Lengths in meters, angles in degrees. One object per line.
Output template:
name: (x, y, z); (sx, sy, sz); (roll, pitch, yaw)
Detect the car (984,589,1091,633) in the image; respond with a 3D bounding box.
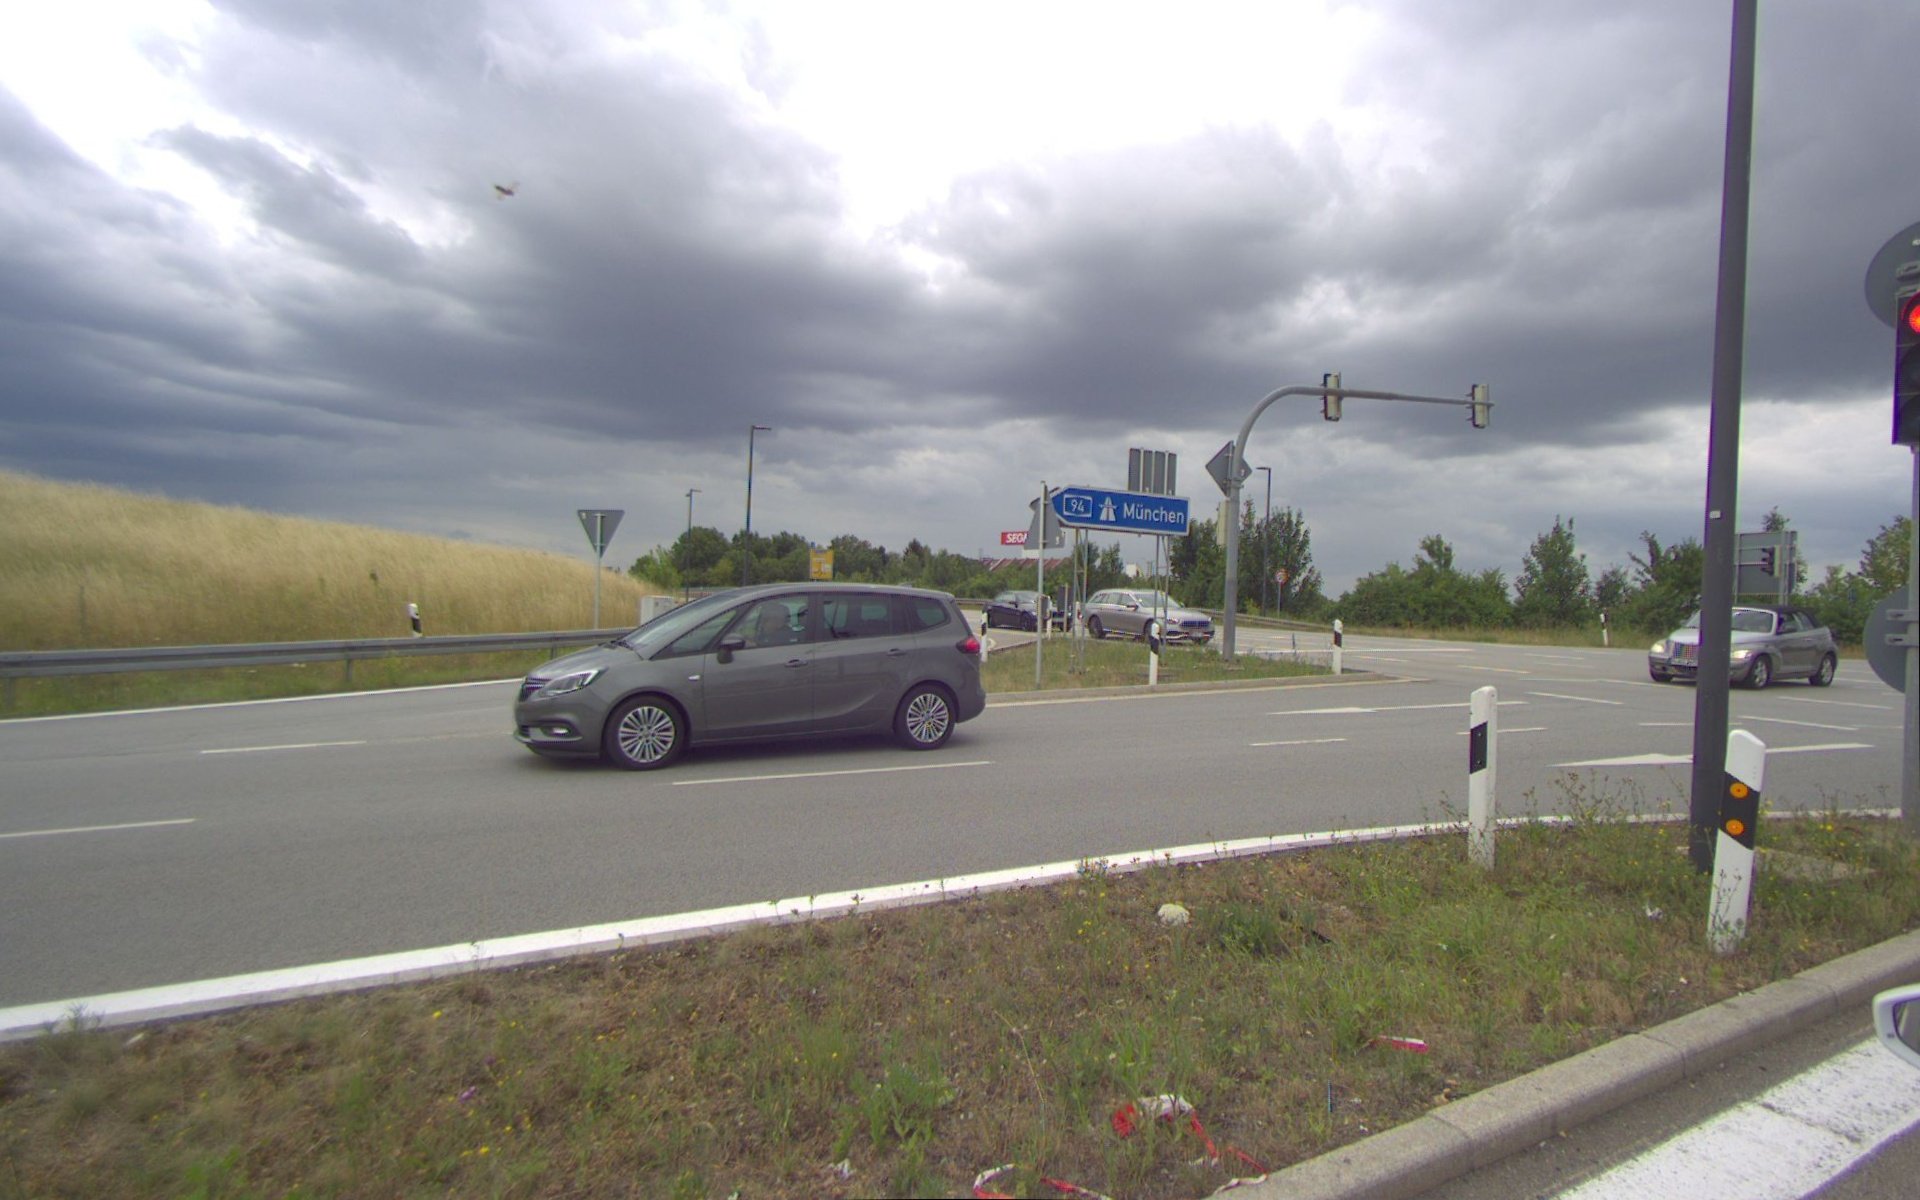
car: (2.680, 0.352, 35.845); (1.690, 1.429, 4.643); (2, 0, -26)

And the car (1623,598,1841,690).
car: (14.572, 0.753, 18.913); (4.192, 1.541, 1.801); (0, 1, -30)

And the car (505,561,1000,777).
car: (-1.993, 0.606, 9.970); (4.403, 1.716, 1.984); (2, 0, -30)

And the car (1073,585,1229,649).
car: (5.410, 0.423, 29.197); (1.895, 1.632, 4.916); (0, 1, -26)
